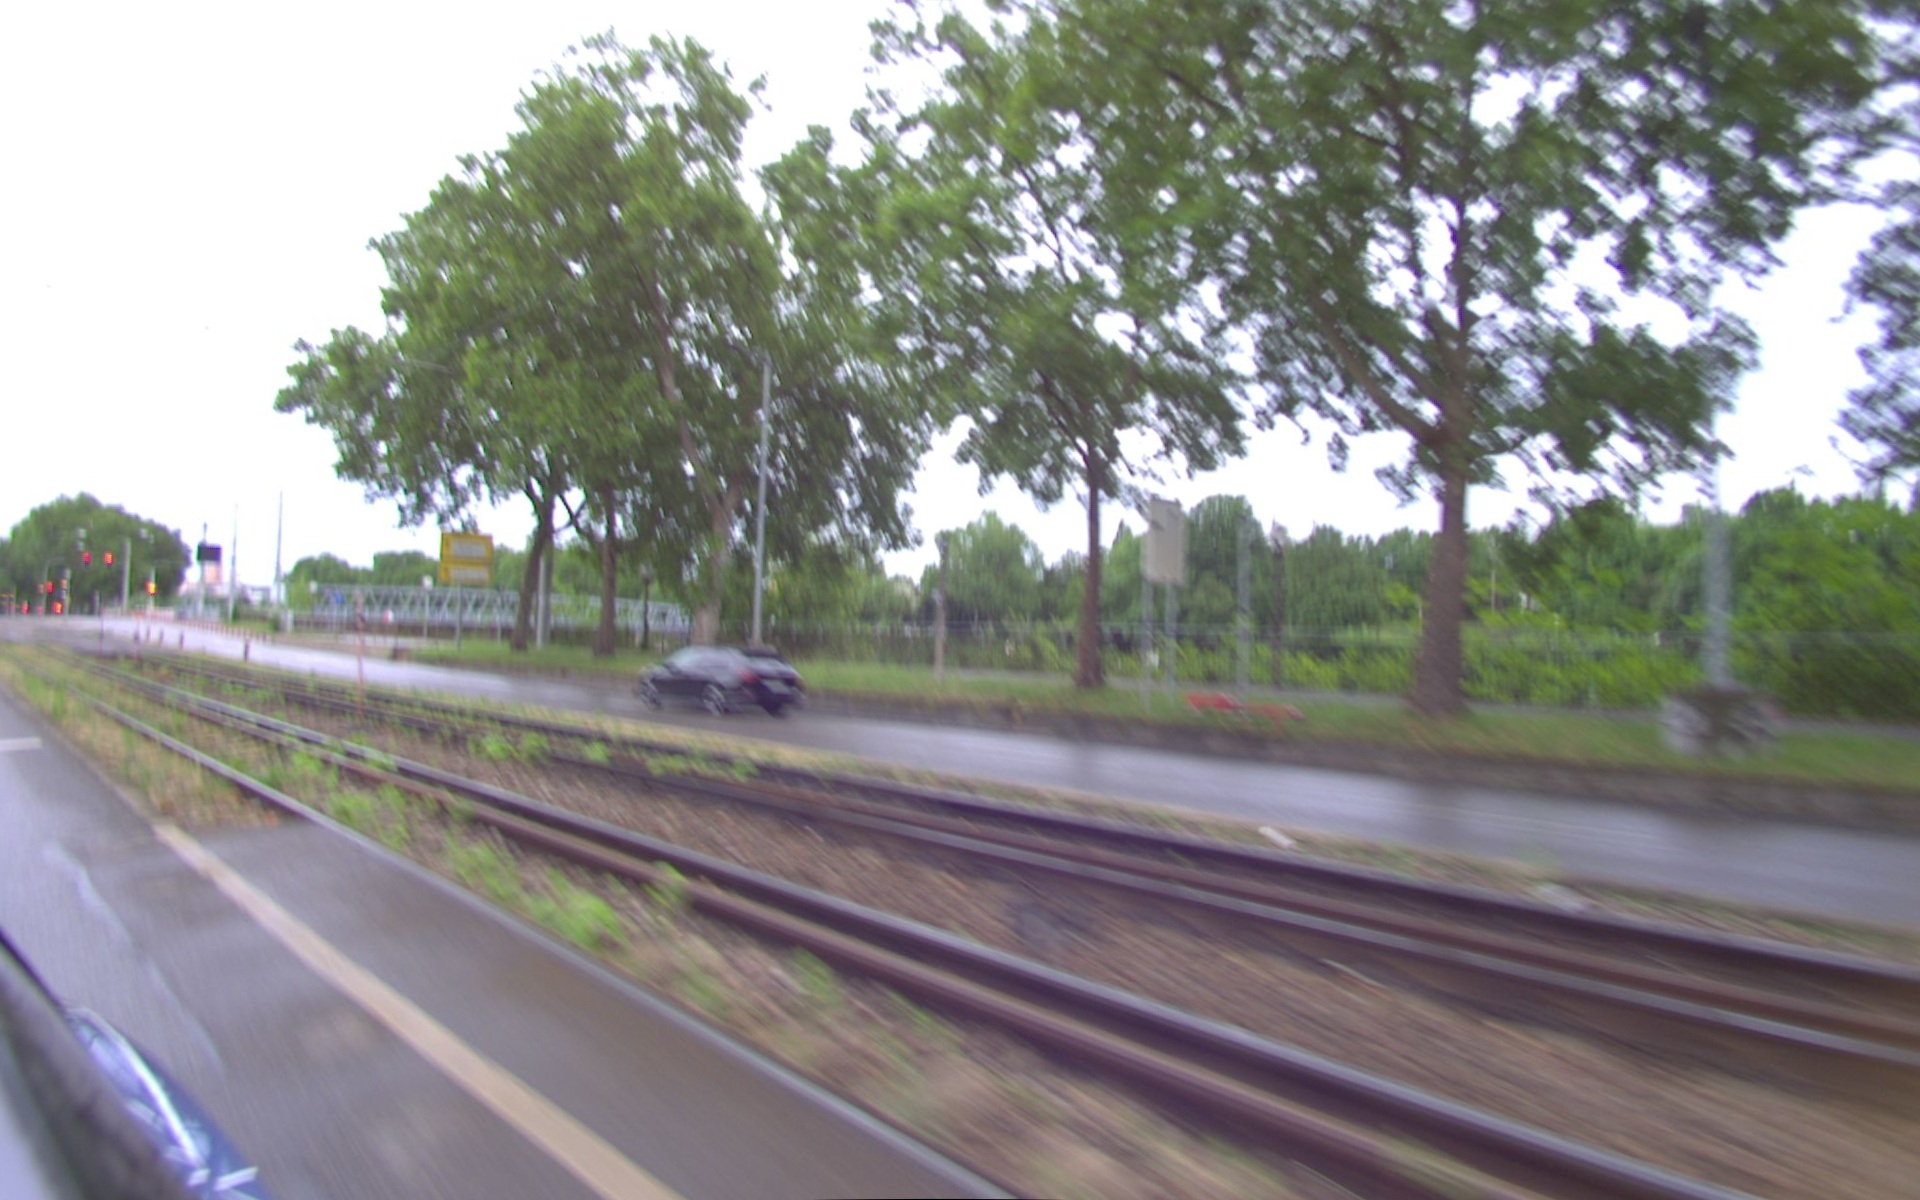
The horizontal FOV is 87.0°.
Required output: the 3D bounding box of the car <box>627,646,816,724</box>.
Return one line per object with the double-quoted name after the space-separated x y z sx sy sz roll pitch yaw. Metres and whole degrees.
-5.276 1.799 22.074 4.560 1.441 1.727 -1 -5 43 "car"
